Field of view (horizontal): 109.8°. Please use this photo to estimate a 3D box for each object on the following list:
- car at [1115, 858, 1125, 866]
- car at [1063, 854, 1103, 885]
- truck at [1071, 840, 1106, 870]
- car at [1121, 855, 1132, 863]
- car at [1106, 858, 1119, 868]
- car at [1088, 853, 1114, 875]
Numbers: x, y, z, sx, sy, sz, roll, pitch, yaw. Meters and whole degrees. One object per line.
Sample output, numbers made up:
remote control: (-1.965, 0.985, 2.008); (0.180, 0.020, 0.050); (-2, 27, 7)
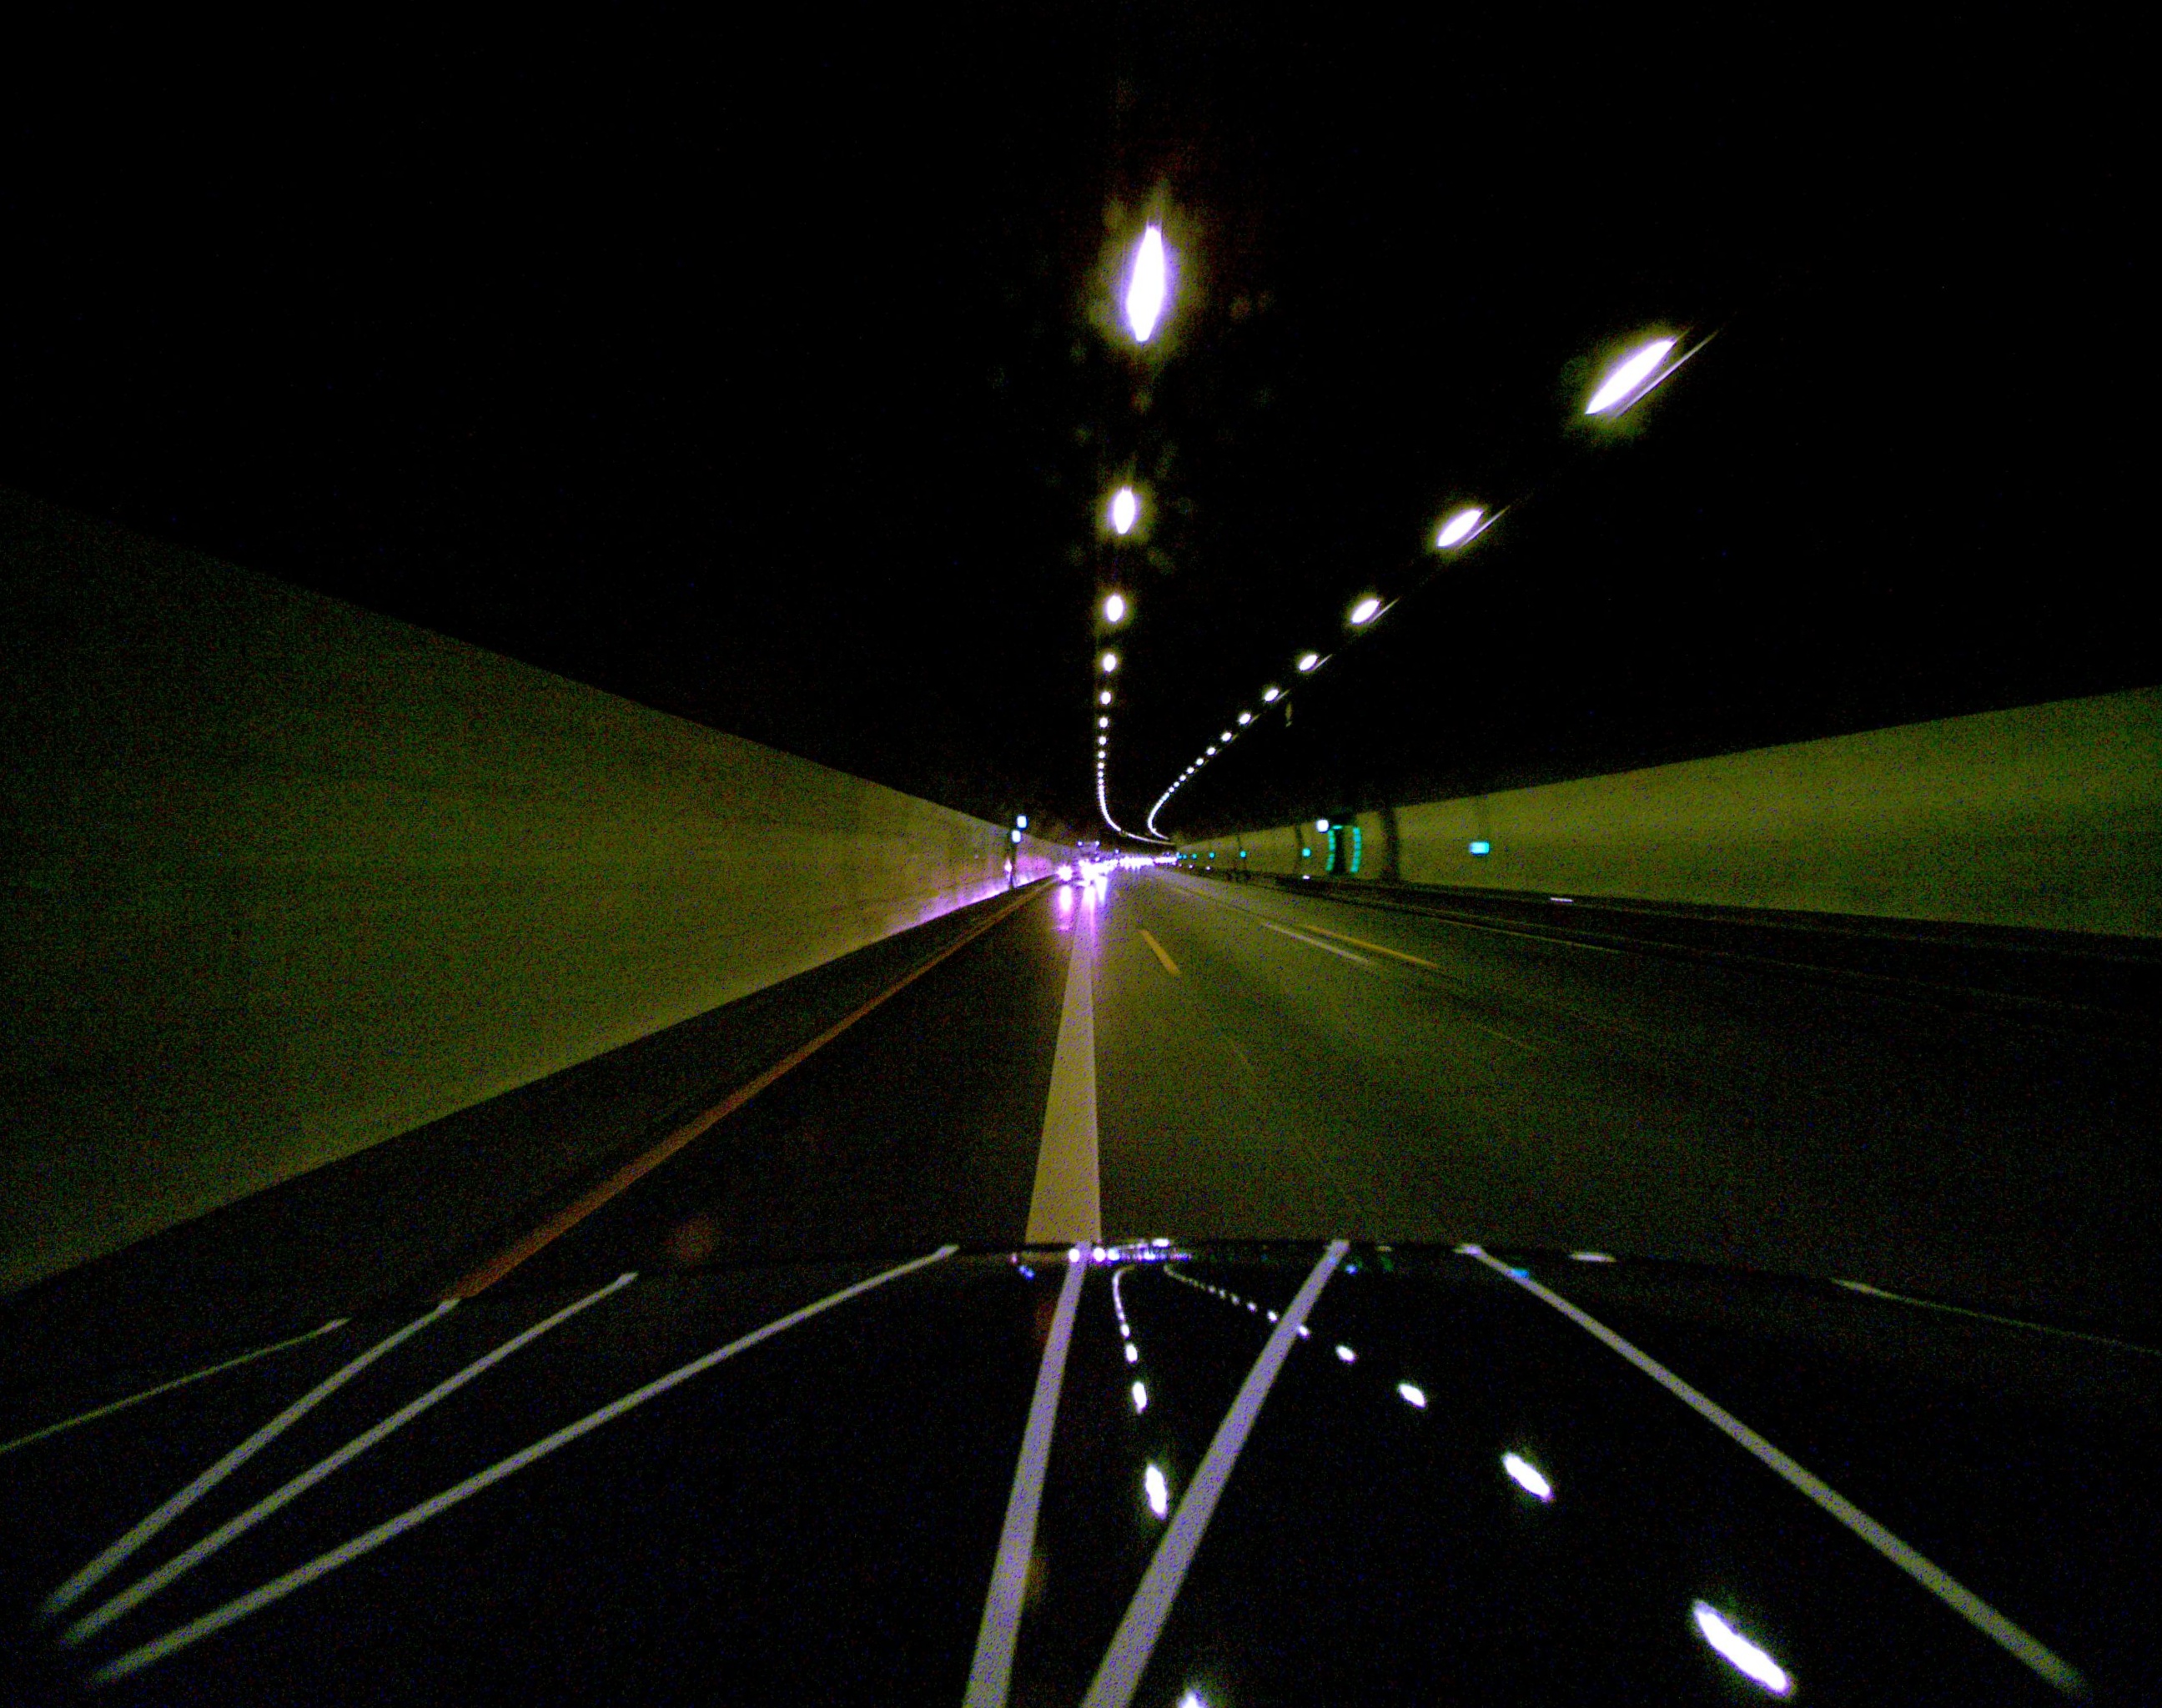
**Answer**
car: (8.752, 1.784, 170.702); (1.997, 1.892, 4.003); (-1, 0, 9)
car: (0.095, 0.918, 44.761); (2.172, 1.709, 4.481); (-1, -1, 0)
truck: (0.957, 0.108, 86.431); (2.987, 3.161, 10.514); (-1, -1, 5)
car: (11.271, 1.165, 187.747); (1.996, 1.917, 4.390); (-1, -1, 14)
car: (5.895, 1.646, 143.231); (1.997, 1.892, 4.003); (-1, 0, 8)
car: (1.591, 0.818, 61.981); (1.998, 1.655, 4.000); (-2, 0, 1)
